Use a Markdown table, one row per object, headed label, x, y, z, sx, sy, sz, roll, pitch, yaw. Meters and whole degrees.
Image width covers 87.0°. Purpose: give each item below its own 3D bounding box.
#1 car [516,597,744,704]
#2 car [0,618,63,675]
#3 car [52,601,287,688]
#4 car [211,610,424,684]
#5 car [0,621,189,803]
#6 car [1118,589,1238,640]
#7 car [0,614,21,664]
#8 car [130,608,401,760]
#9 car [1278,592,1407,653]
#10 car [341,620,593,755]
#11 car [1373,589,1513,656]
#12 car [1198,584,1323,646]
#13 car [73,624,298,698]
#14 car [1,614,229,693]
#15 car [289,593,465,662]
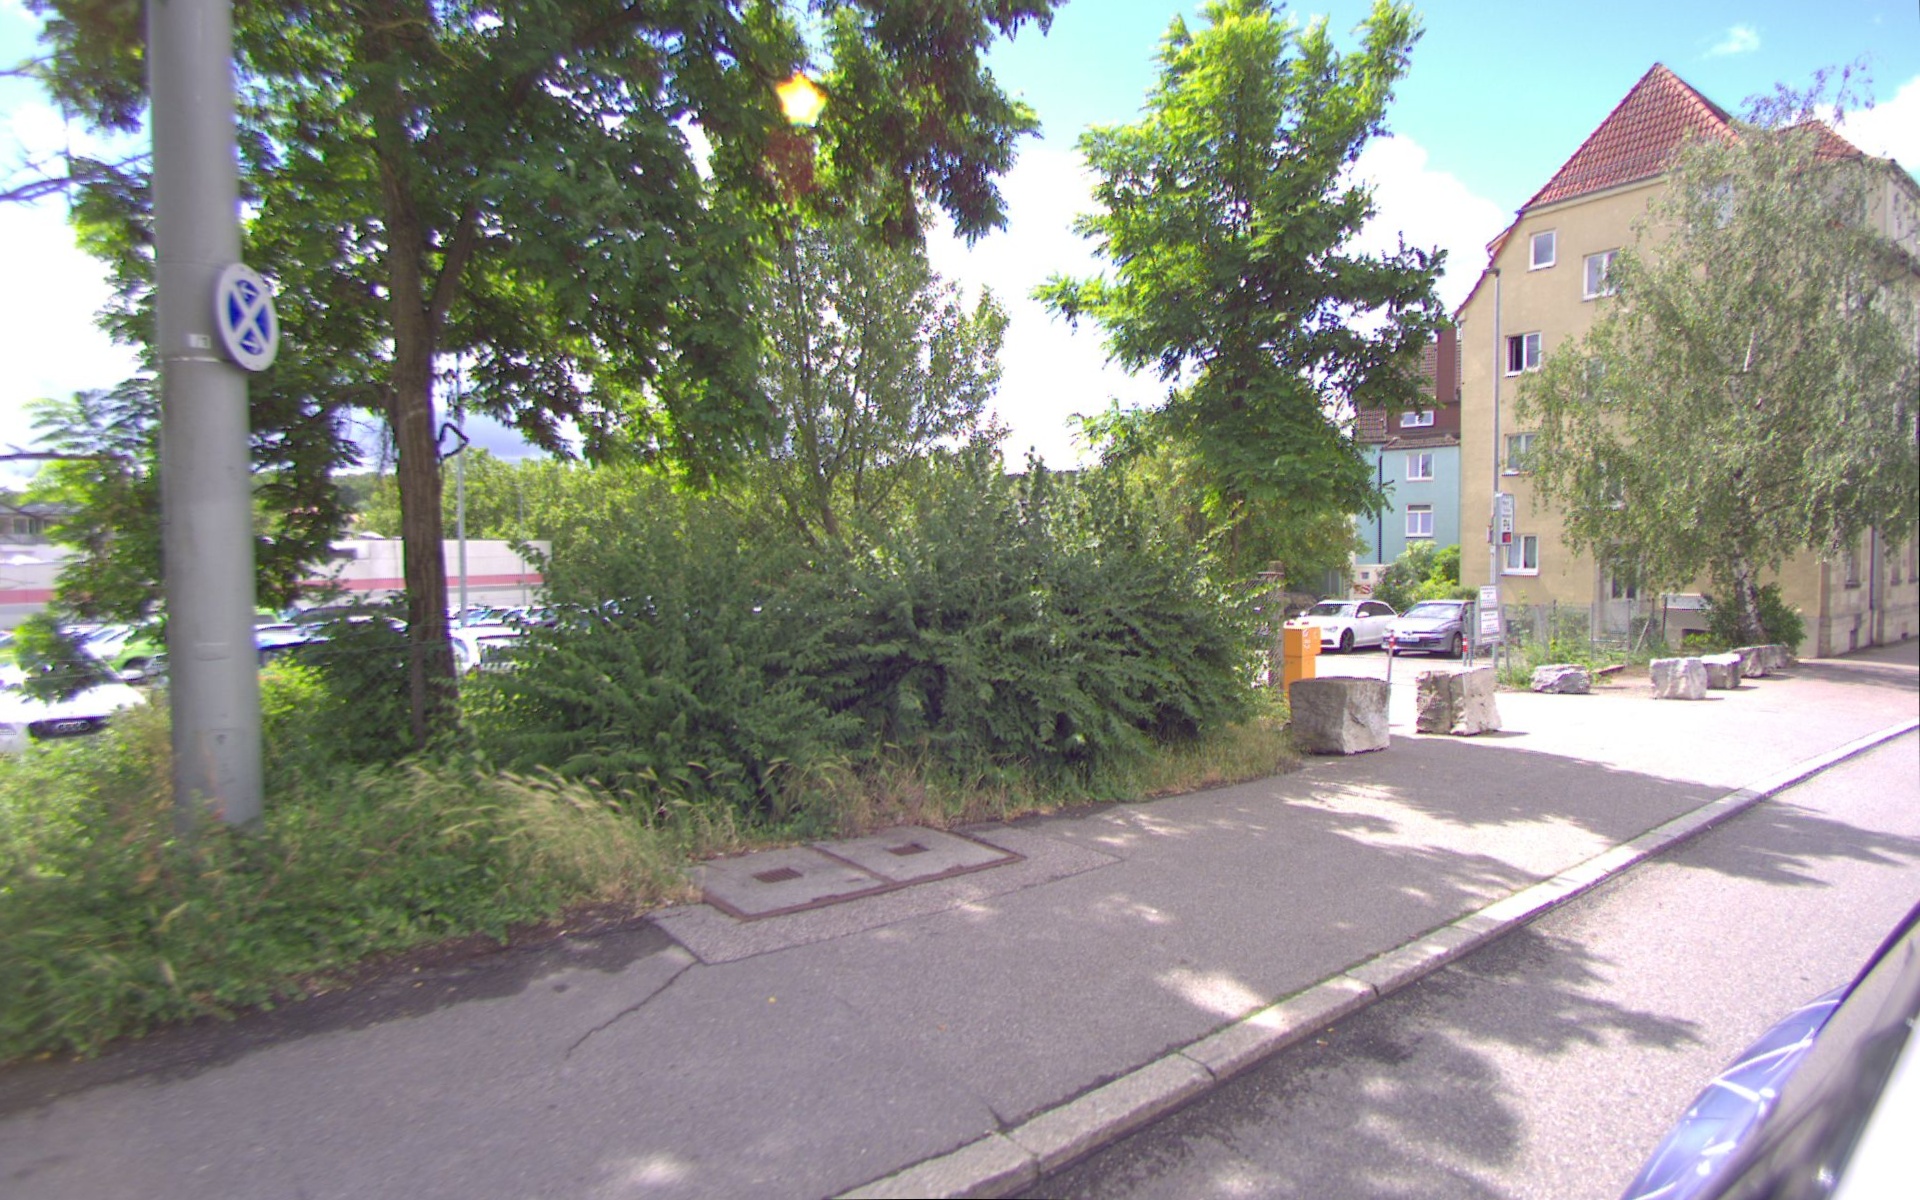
| label | x | y | z | sx | sy | sz | roll | pitch | yaw |
| --- | --- | --- | --- | --- | --- | --- | --- | --- | --- |
| car | -6.111 | 0.816 | 18.549 | 4.326 | 1.690 | 1.847 | 0 | 2 | 38 |
| car | -32.400 | 1.592 | 32.893 | 1.889 | 1.724 | 4.524 | 2 | 3 | 23 |
| car | -20.780 | 1.110 | 26.863 | 1.702 | 1.898 | 4.611 | -3 | 1 | 24 |
| car | -15.273 | 1.080 | 24.281 | 1.706 | 1.408 | 3.960 | -3 | 1 | 30 |
| car | -11.060 | 1.151 | 11.744 | 4.314 | 1.690 | 1.852 | 0 | 2 | 31 |
| car | 7.137 | 0.413 | 32.836 | 1.870 | 1.468 | 4.214 | 1 | 2 | 44 |
| car | -36.560 | 1.493 | 35.825 | 1.889 | 1.724 | 4.524 | 2 | 3 | 23 |
| car | -9.668 | 1.005 | 13.979 | 4.326 | 1.690 | 1.847 | 0 | 2 | 38 |
| car | 10.755 | 0.566 | 28.319 | 1.870 | 1.469 | 4.214 | 1 | 2 | 44 |
| car | -7.837 | 1.236 | 15.940 | 4.326 | 1.690 | 1.847 | 0 | 2 | 38 |
| car | 12.555 | 0.538 | 26.201 | 4.072 | 1.408 | 1.718 | -4 | 1 | -41 |
| car | 9.097 | 0.386 | 30.435 | 1.870 | 1.644 | 4.214 | 0 | 2 | 44 |
| car | -18.600 | 1.427 | 24.495 | 1.706 | 1.408 | 3.960 | -3 | 1 | 30 |
| car | -23.313 | 1.399 | 28.147 | 1.889 | 1.724 | 4.524 | 2 | 3 | 23 |
| car | -18.279 | 0.813 | 31.958 | 1.979 | 1.808 | 4.406 | -3 | 1 | 26 |
